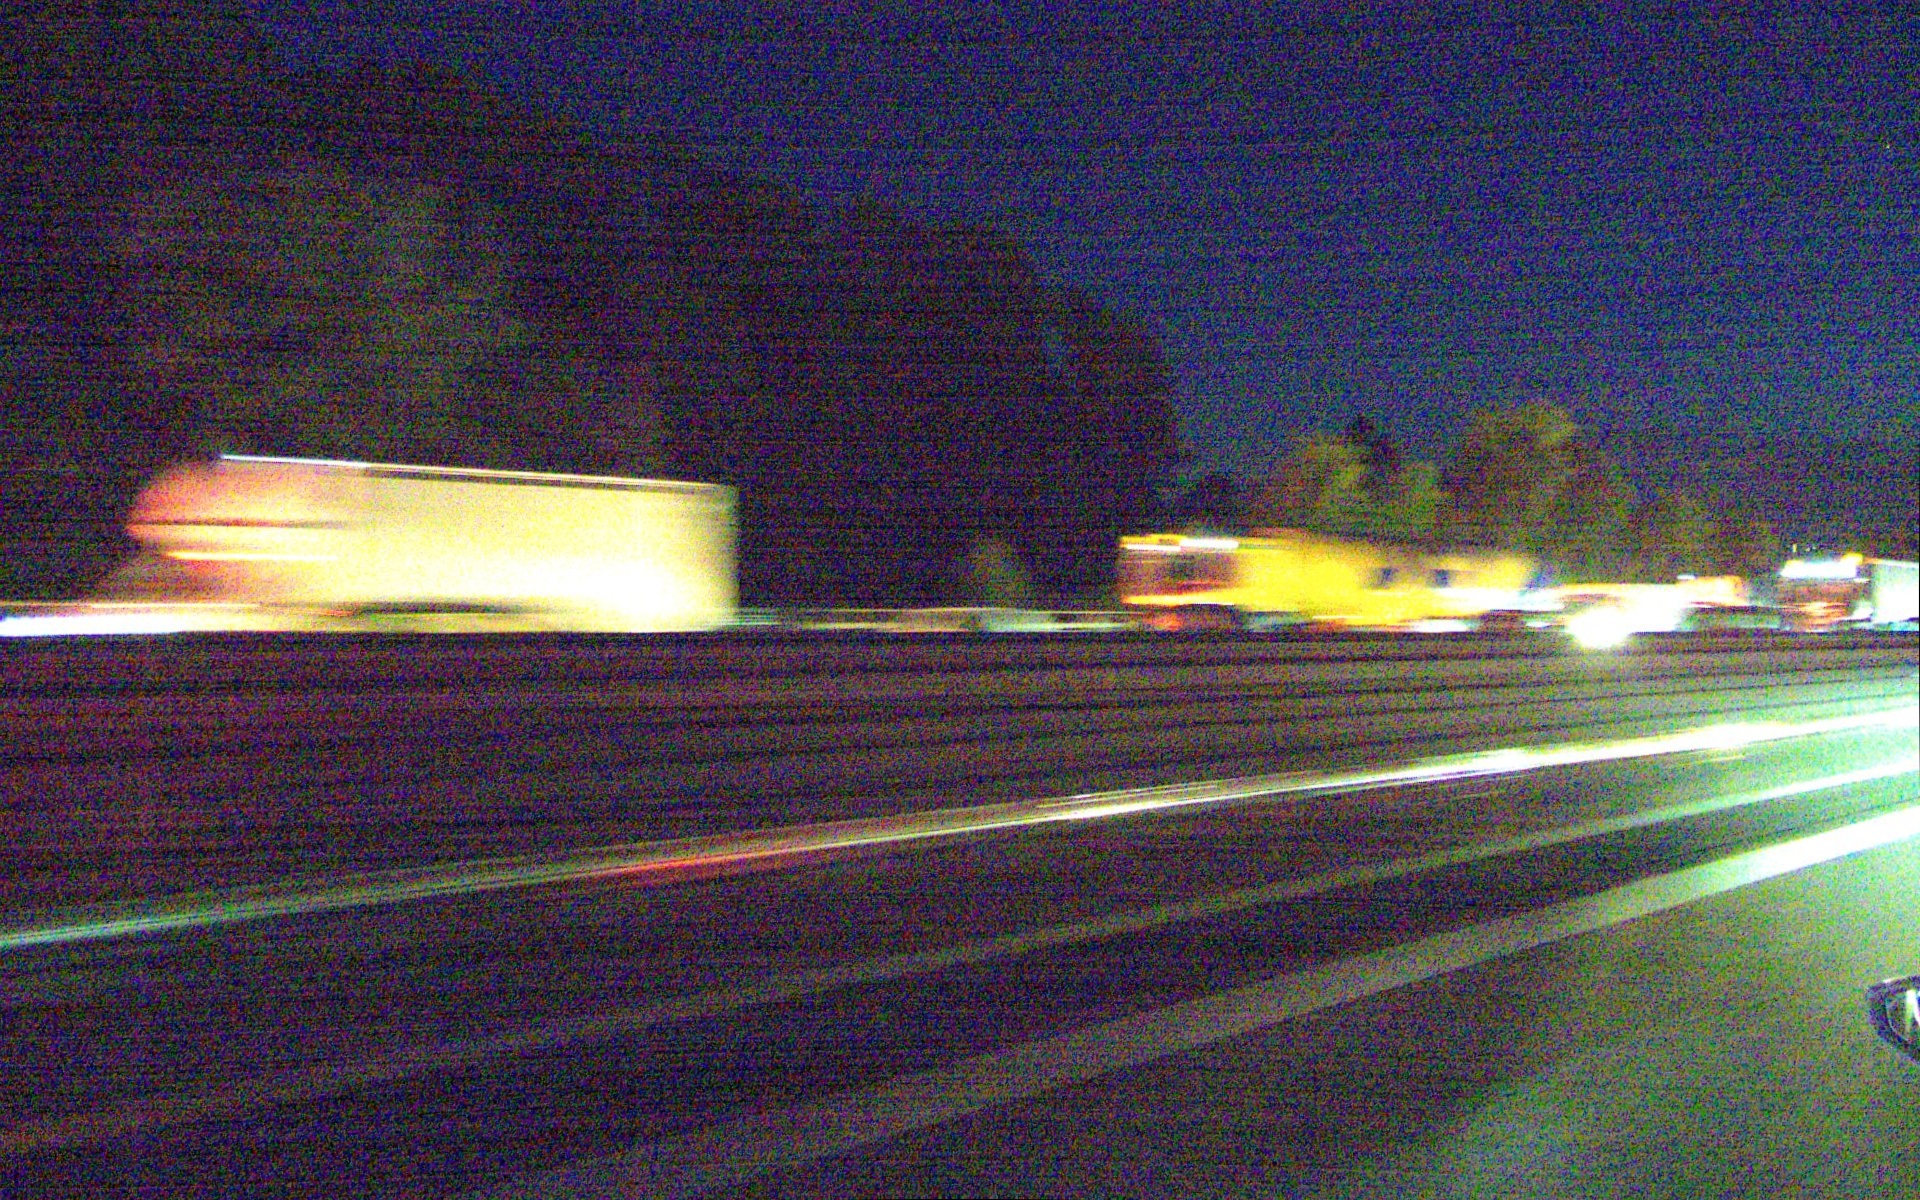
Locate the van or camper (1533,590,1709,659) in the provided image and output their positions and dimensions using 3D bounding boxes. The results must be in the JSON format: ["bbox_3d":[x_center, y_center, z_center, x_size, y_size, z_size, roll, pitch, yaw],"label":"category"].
[{"bbox_3d":[21.770,0.811,32.911,7.565,2.040,2.173,2,0,-35],"label":"van or camper"}]

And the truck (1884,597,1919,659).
[{"bbox_3d":[60.992,1.763,62.973,7.188,3.724,2.865,2,0,-34],"label":"truck"}]

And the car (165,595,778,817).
[{"bbox_3d":[-3.589,0.705,7.923,3.951,1.372,1.563,2,0,-29],"label":"car"}]

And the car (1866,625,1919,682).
[{"bbox_3d":[25.571,1.397,26.301,3.952,1.372,1.563,2,0,-30],"label":"car"}]

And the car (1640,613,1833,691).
[{"bbox_3d":[15.396,1.004,19.881,3.951,1.372,1.563,2,0,-29],"label":"car"}]

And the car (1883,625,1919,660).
[{"bbox_3d":[39.907,1.750,41.247,4.190,1.372,1.787,2,0,-31],"label":"car"}]

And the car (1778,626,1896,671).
[{"bbox_3d":[29.823,1.638,34.140,4.190,1.372,1.787,2,0,-31],"label":"car"}]

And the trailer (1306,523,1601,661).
[{"bbox_3d":[13.511,-0.116,27.167,8.900,3.218,2.593,3,2,-31],"label":"trailer"}]

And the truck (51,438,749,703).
[{"bbox_3d":[-7.383,-0.253,14.503,8.076,2.998,2.545,1,0,-30],"label":"truck"}]

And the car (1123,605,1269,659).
[{"bbox_3d":[6.566,0.880,27.855,3.954,1.372,1.562,2,0,-31],"label":"car"}]

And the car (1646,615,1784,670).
[{"bbox_3d":[20.908,1.165,27.804,3.951,1.372,1.563,2,0,-29],"label":"car"}]

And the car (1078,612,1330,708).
[{"bbox_3d":[4.005,0.935,16.330,3.951,1.372,1.563,2,0,-29],"label":"car"}]

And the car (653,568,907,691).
[{"bbox_3d":[-3.780,0.627,21.304,4.737,2.325,2.445,1,-1,-33],"label":"car"}]

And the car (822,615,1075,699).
[{"bbox_3d":[-0.135,1.004,18.441,4.527,1.372,1.561,2,-1,-33],"label":"car"}]

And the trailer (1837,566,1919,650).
[{"bbox_3d":[45.821,0.484,48.402,11.062,3.676,2.379,2,1,-34],"label":"trailer"}]

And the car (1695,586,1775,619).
[{"bbox_3d":[35.716,0.117,46.250,3.954,1.372,1.562,2,0,-31],"label":"car"}]

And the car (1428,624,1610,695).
[{"bbox_3d":[12.194,1.260,21.878,3.950,1.372,1.564,2,0,-28],"label":"car"}]

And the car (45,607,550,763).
[{"bbox_3d":[-6.582,0.802,10.494,4.110,1.333,1.563,2,0,-29],"label":"car"}]

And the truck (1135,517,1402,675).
[{"bbox_3d":[7.227,-0.035,23.412,5.729,3.262,2.630,3,2,-31],"label":"truck"}]

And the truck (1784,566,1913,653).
[{"bbox_3d":[38.867,0.439,43.885,6.650,3.561,2.389,1,1,-33],"label":"truck"}]

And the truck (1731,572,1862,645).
[{"bbox_3d":[46.361,0.548,55.505,11.062,3.676,2.379,2,1,-34],"label":"truck"}]
